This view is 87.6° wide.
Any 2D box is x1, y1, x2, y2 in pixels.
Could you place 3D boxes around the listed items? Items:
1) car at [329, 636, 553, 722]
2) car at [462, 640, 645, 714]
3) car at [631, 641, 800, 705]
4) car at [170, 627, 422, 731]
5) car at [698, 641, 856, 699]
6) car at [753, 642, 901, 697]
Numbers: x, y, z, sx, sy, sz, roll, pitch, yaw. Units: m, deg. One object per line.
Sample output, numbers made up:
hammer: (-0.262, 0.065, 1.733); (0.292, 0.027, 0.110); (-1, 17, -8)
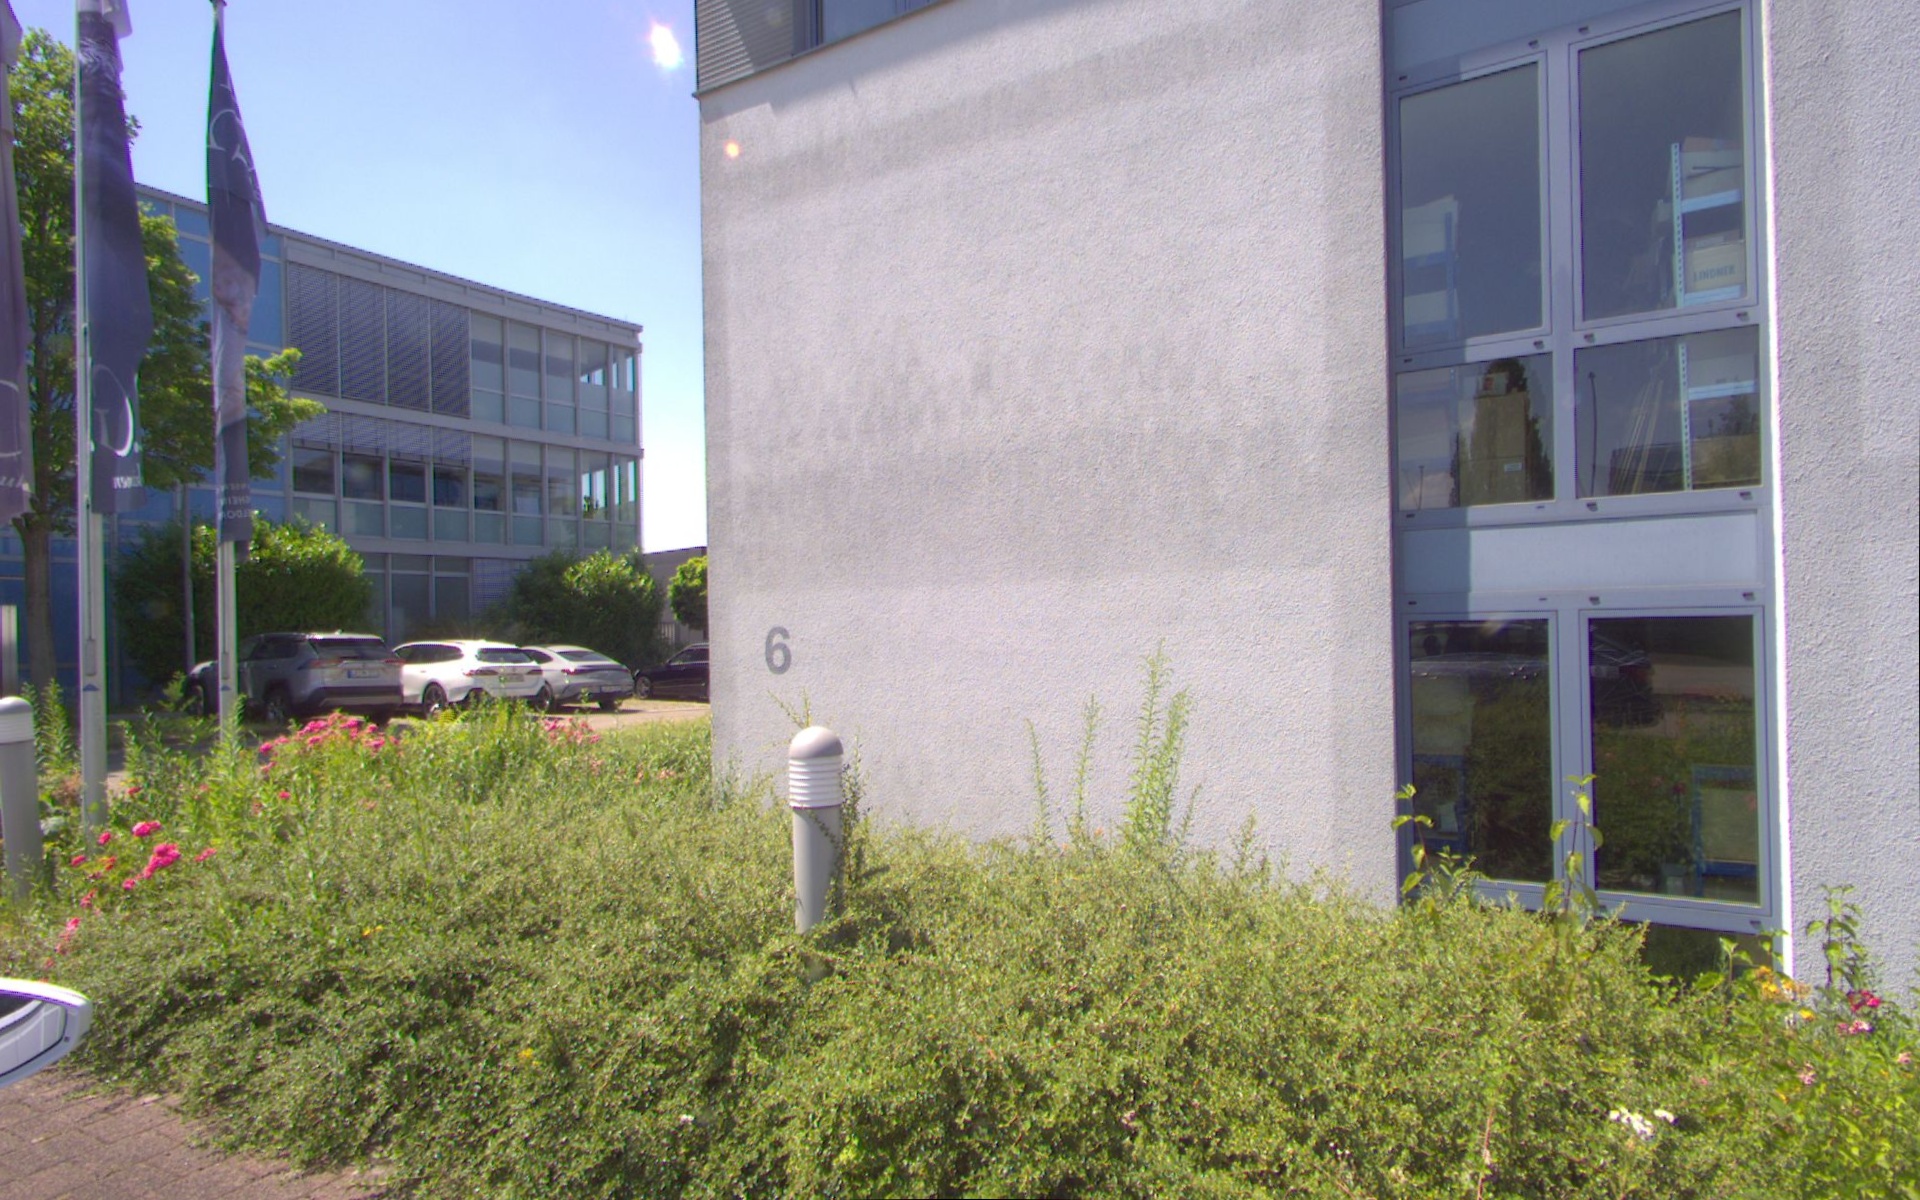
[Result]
car: (-10.386, 1.514, 20.011); (4.269, 1.510, 1.737); (0, -3, 25)
car: (-9.141, 1.664, 22.402); (4.281, 1.447, 1.732); (-1, -3, 35)
car: (-6.411, 1.841, 26.027); (4.487, 1.465, 1.732); (-1, -3, 35)
car: (-11.910, 1.326, 17.953); (4.269, 1.640, 1.820); (0, -1, 25)
car: (-5.211, 1.919, 28.268); (4.487, 1.465, 1.732); (-1, -3, 35)
car: (-3.995, 2.029, 29.797); (4.358, 1.465, 1.732); (-1, -3, 35)
